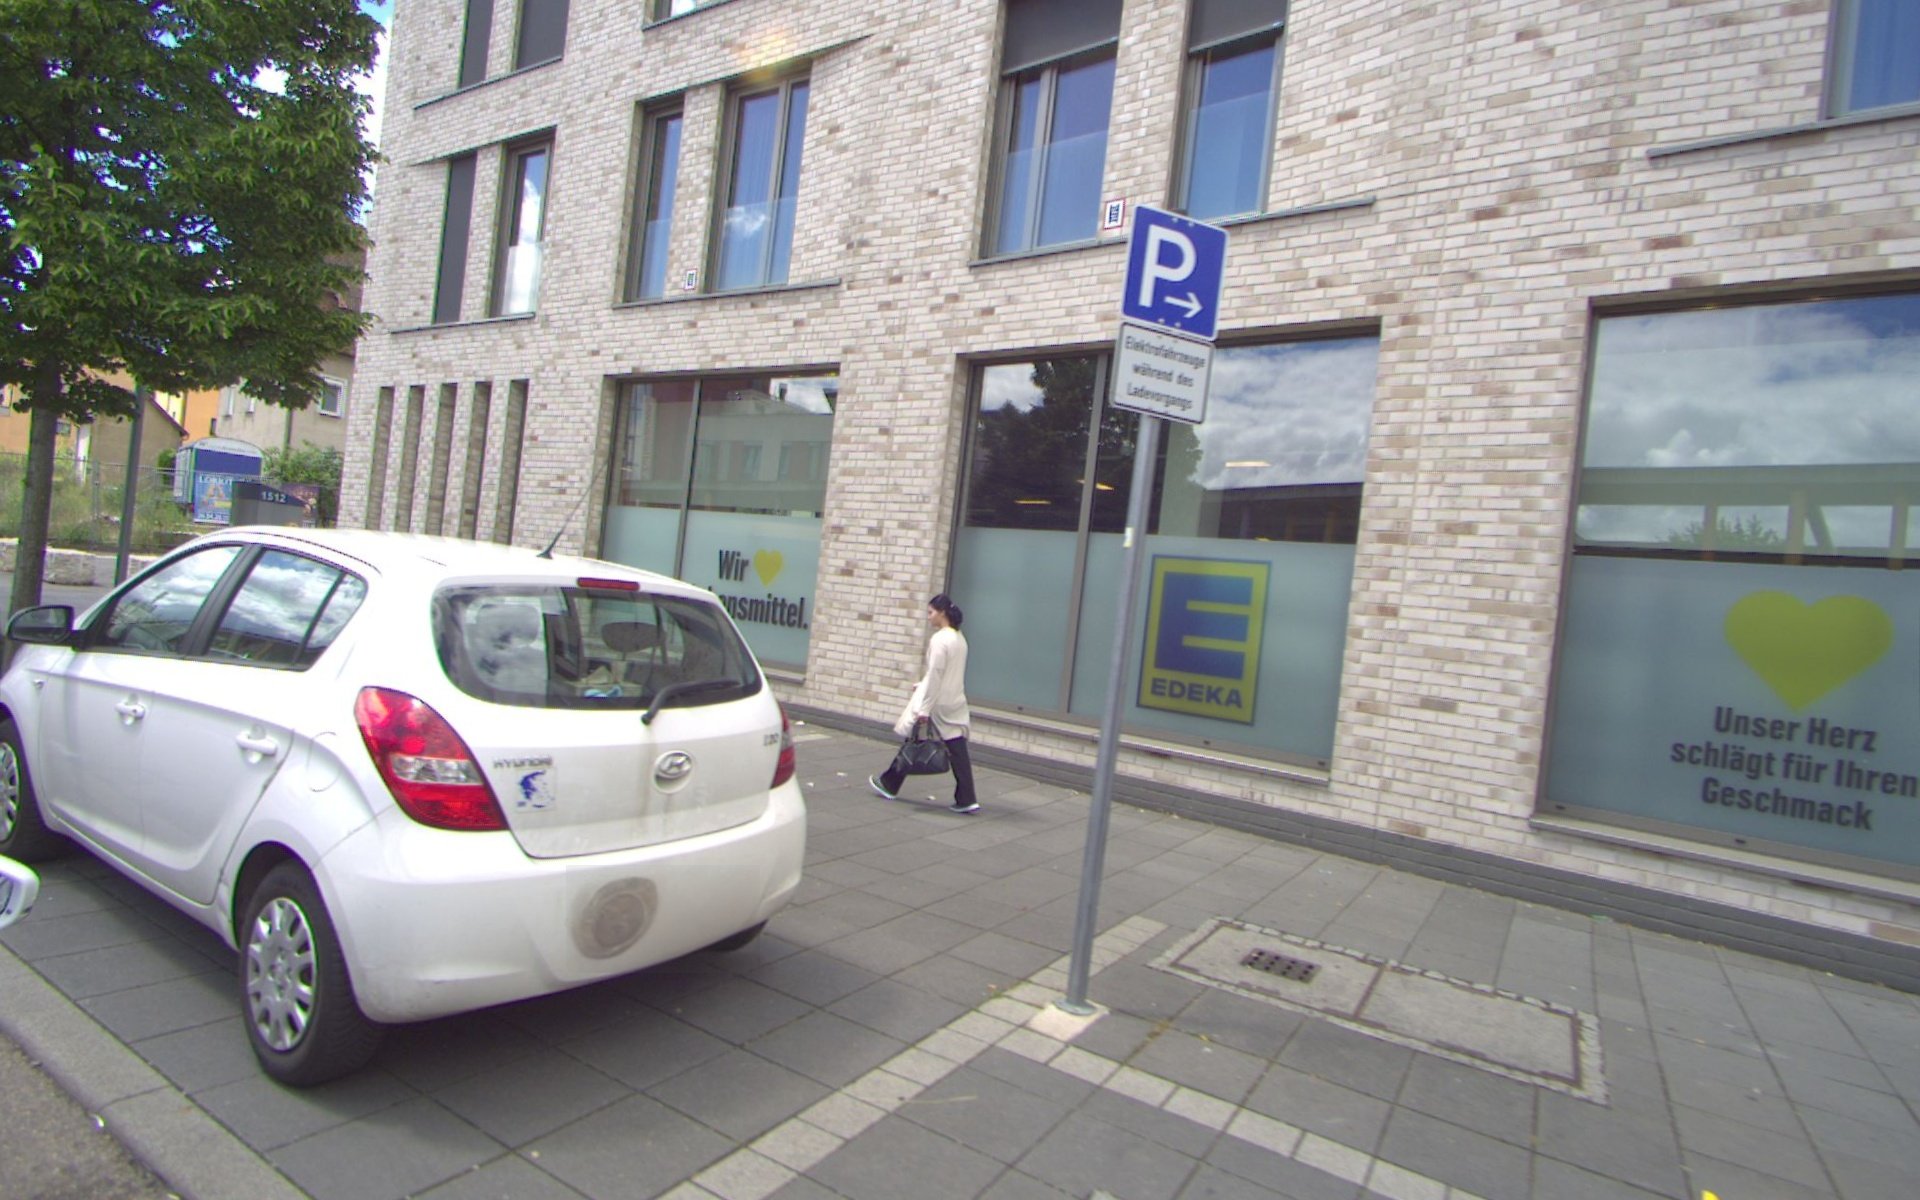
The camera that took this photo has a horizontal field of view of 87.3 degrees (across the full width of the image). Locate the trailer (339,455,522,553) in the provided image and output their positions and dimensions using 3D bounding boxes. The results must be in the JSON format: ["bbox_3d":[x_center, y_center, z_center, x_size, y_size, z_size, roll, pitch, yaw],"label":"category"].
[{"bbox_3d":[-21.950,-3.907,41.958,2.379,3.162,6.127,7,1,42],"label":"trailer"}]

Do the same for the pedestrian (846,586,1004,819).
[{"bbox_3d":[-0.251,0.699,7.134,0.779,1.492,0.606,7,2,40],"label":"pedestrian"}]

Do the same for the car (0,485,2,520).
[{"bbox_3d":[-10.315,-0.472,8.949,4.080,1.480,1.693,7,1,34],"label":"car"}]

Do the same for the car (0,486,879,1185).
[{"bbox_3d":[-2.368,0.460,4.031,3.736,1.503,1.693,7,1,34],"label":"car"}]

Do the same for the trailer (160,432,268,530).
[{"bbox_3d":[-28.762,-4.520,38.676,2.396,3.162,6.082,5,2,-44],"label":"trailer"}]
